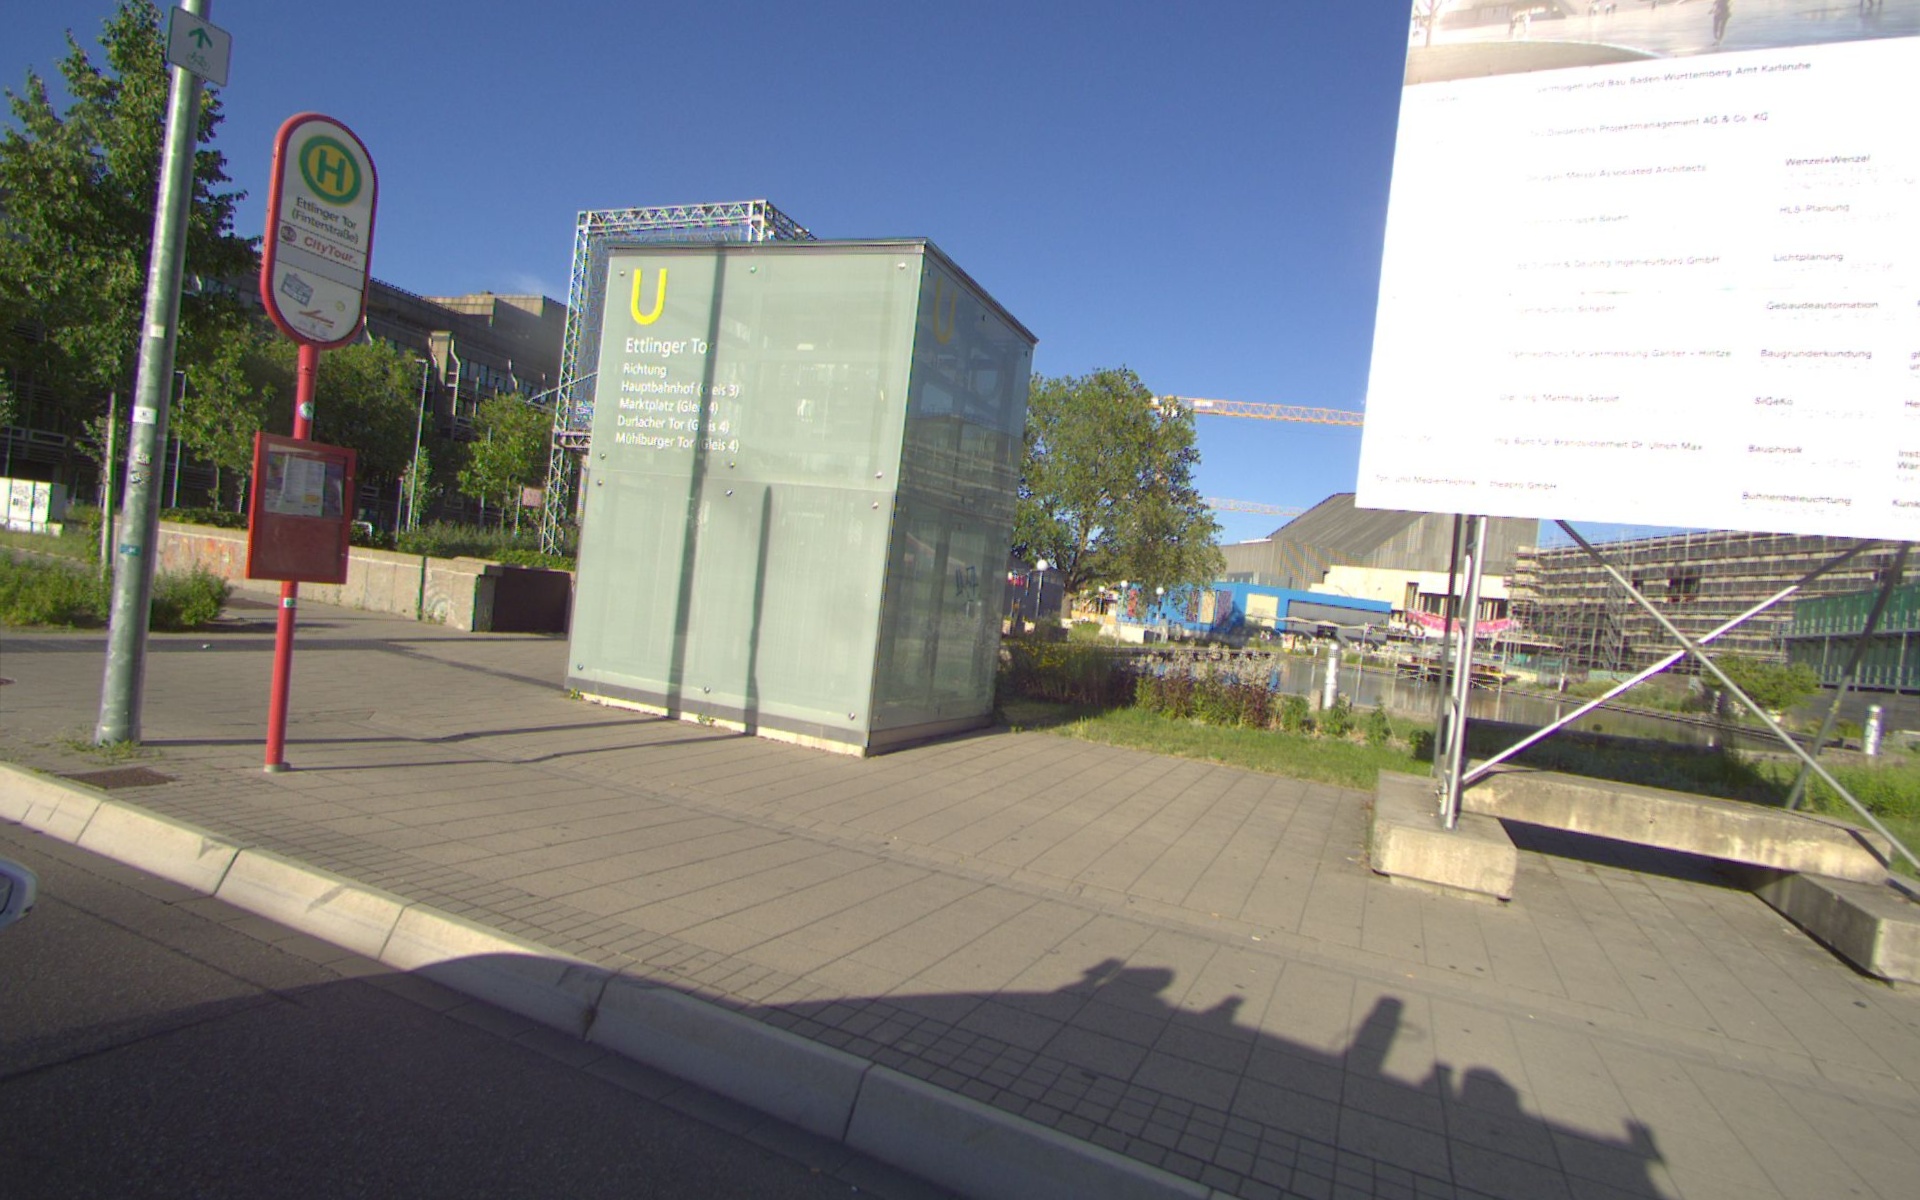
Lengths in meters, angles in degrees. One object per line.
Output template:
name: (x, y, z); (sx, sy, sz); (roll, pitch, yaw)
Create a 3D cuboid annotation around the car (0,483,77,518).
car: (-52.355, -5.636, 55.765); (1.963, 1.373, 4.645); (9, 0, 21)
